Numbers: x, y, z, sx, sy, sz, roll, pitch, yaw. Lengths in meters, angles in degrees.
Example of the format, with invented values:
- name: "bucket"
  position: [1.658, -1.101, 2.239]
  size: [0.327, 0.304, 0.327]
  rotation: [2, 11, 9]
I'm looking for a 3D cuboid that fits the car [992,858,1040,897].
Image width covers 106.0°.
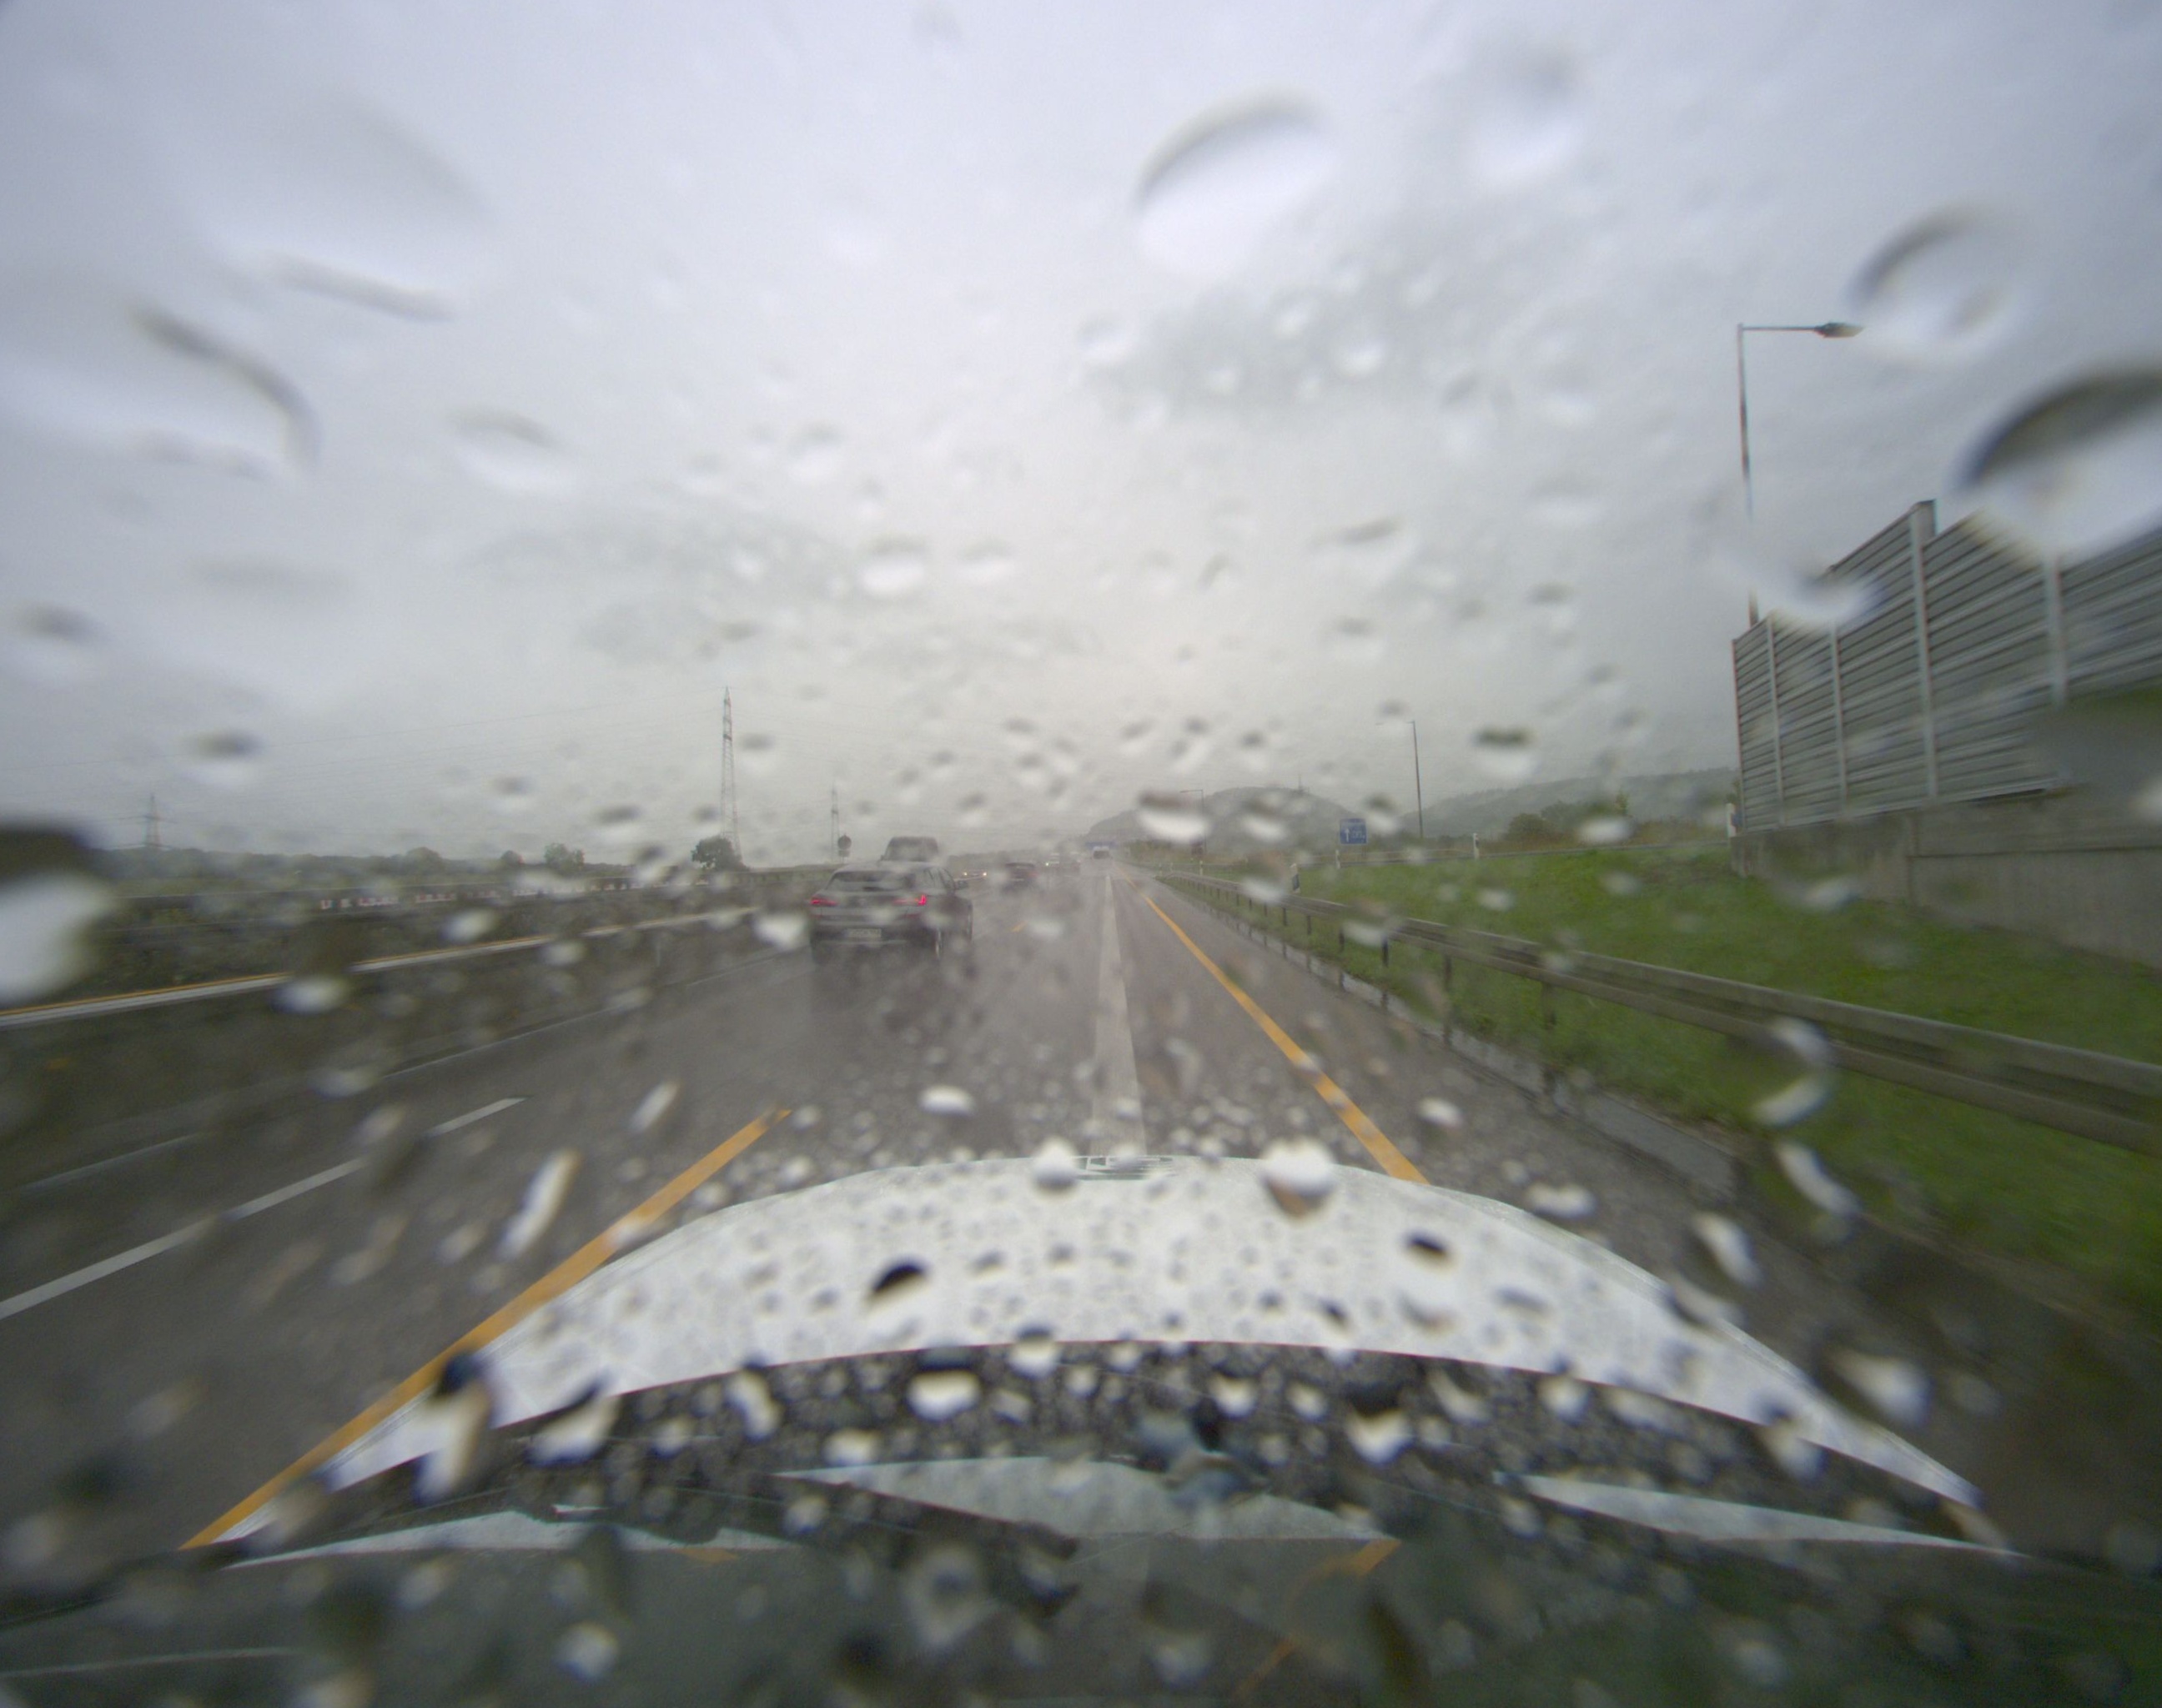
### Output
- name: "car"
  position: [-2.656, 0.972, 34.068]
  size: [1.839, 1.491, 4.257]
  rotation: [-1, -2, -2]

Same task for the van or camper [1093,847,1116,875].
- name: "van or camper"
  position: [2.296, 0.726, 81.585]
  size: [1.991, 2.778, 4.045]
  rotation: [-1, -2, -2]

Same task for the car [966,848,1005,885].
- name: "car"
  position: [-5.616, 0.712, 48.395]
  size: [1.830, 2.013, 4.000]
  rotation: [-1, 1, 0]

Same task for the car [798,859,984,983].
- name: "car"
  position: [-2.772, 0.940, 13.057]
  size: [1.694, 1.598, 4.846]
  rotation: [-1, -2, 2]

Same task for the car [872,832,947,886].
- name: "car"
  position: [-8.638, 0.262, 41.738]
  size: [2.061, 2.517, 6.182]
  rotation: [-2, -1, 4]

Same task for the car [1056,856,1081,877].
- name: "car"
  position: [-0.972, 0.927, 63.146]
  size: [1.839, 1.491, 4.259]
  rotation: [-3, 0, -1]
